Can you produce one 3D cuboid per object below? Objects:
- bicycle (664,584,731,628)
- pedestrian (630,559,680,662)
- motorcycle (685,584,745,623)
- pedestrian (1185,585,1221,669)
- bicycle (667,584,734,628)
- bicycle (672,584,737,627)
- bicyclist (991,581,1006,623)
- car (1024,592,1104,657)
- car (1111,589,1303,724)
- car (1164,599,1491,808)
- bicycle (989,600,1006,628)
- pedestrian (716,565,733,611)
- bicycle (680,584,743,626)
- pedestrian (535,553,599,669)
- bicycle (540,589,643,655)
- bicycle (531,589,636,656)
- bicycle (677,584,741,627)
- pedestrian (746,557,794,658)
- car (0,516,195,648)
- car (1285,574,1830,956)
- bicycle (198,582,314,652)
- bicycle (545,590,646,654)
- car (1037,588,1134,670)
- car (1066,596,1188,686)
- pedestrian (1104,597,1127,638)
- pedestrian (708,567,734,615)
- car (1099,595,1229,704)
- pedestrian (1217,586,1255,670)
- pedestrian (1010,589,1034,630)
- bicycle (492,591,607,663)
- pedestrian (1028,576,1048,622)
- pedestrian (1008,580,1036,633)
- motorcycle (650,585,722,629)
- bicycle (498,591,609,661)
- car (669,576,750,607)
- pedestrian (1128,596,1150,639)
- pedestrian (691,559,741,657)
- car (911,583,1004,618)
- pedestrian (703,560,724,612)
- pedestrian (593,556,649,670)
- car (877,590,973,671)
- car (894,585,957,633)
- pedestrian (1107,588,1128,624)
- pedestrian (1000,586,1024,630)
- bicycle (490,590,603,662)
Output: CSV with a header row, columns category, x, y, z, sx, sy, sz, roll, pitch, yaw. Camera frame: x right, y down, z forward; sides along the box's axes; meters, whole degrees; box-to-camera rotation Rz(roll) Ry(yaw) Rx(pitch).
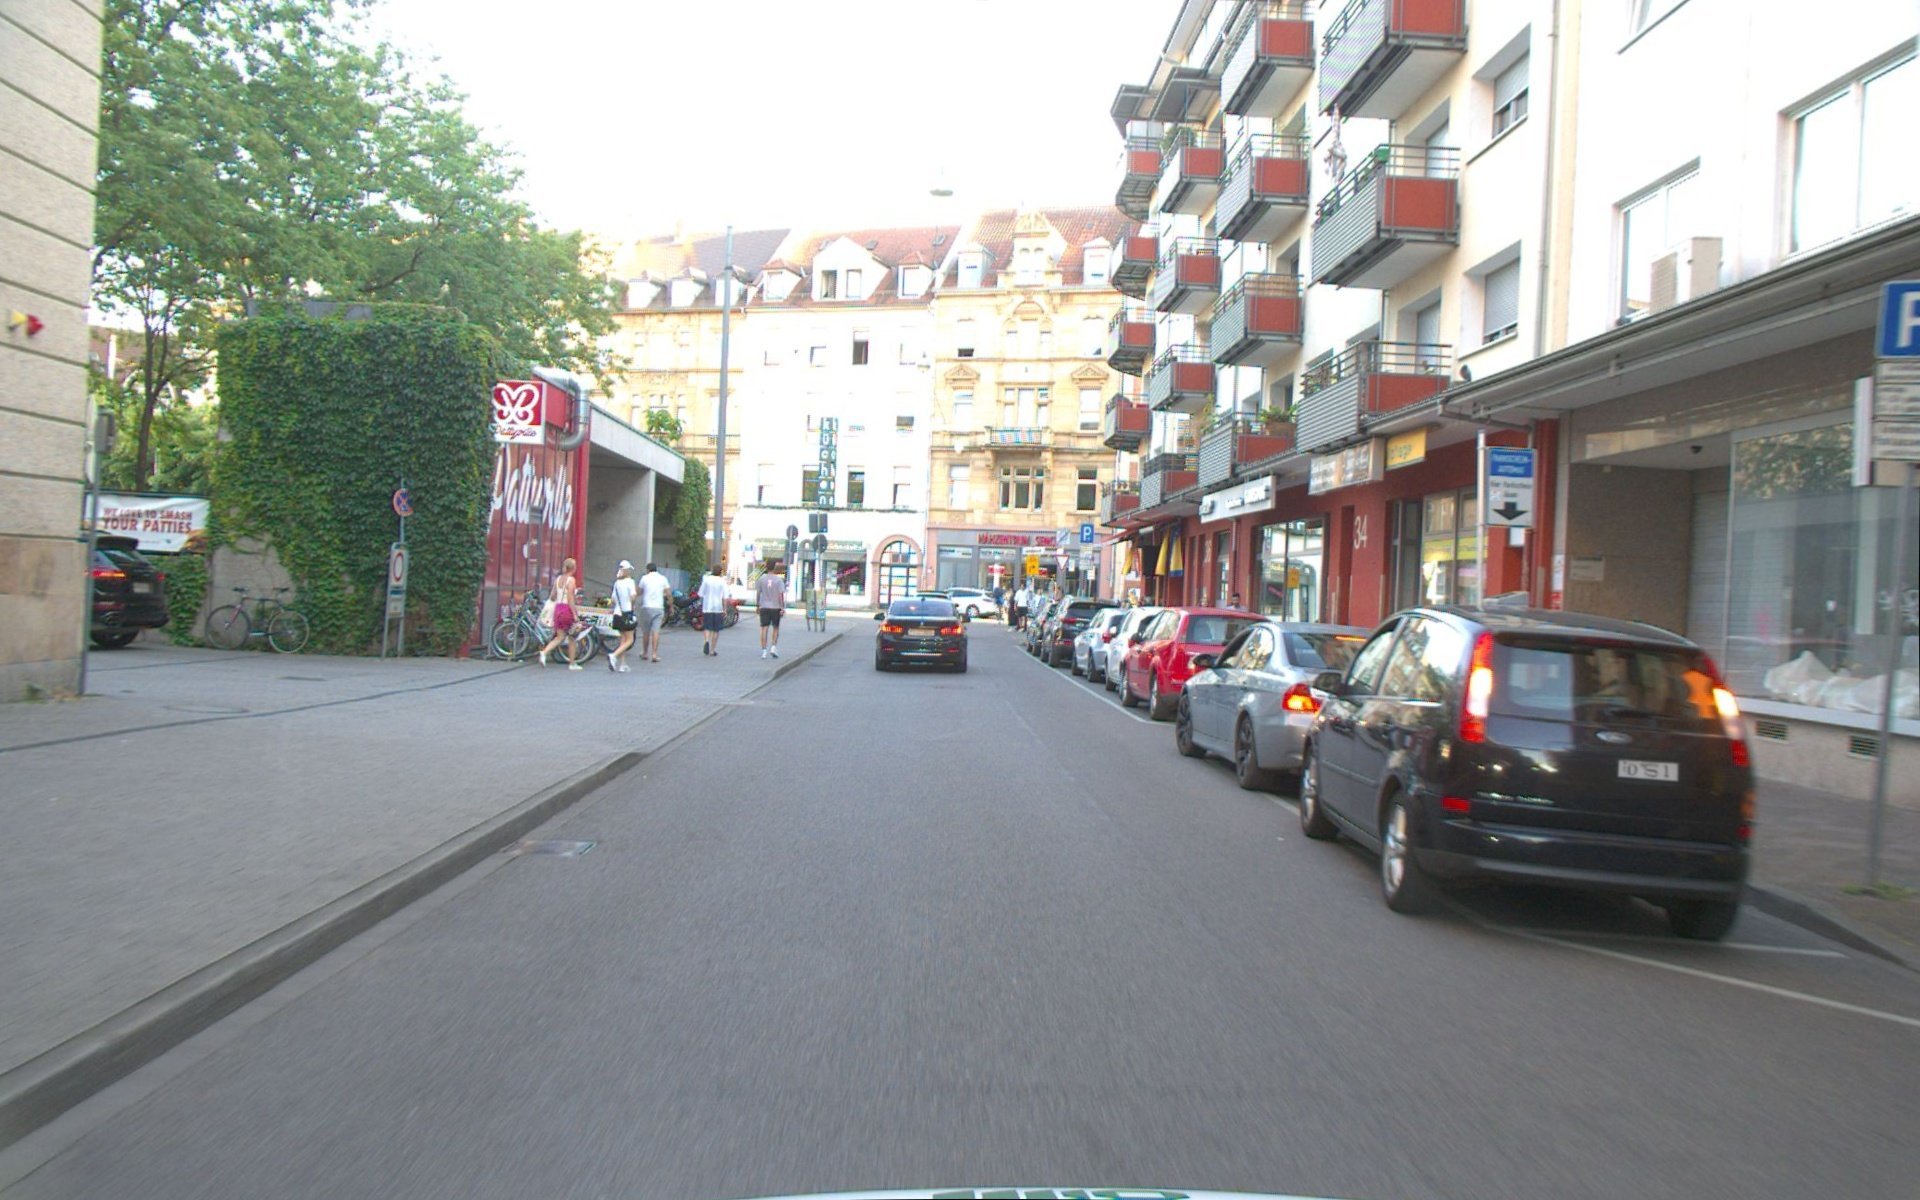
category,x,y,z,sx,sy,sz,roll,pitch,yaw
bicycle,-7.375,0.163,46.521,1.758,1.127,0.500,4,0,-2
pedestrian,-5.466,0.185,29.689,0.702,1.785,0.848,2,0,-3
motorcycle,-7.557,0.110,51.117,1.731,1.120,0.560,3,0,-36
pedestrian,4.983,0.551,33.968,0.635,1.690,0.655,-1,0,0
bicycle,-7.392,0.165,47.115,1.757,1.127,0.500,4,0,1
bicycle,-7.389,0.163,47.864,1.760,1.127,0.499,4,0,-7
bicyclist,1.640,0.090,70.536,0.512,1.787,0.620,3,0,6
car,2.792,0.625,45.332,1.729,1.528,4.790,4,1,-1
car,3.335,0.702,23.203,1.678,1.538,4.650,4,1,-3
car,3.181,0.817,15.335,1.702,1.439,4.680,4,1,-3
bicycle,1.617,0.586,70.561,0.525,1.127,1.801,3,0,6
pedestrian,-8.656,-0.433,60.717,0.490,1.671,0.521,2,0,1
bicycle,-7.436,0.145,49.579,1.758,1.127,0.500,4,0,-2
pedestrian,-6.303,0.167,26.558,0.738,1.780,0.846,3,0,-2
bicycle,-6.897,0.407,30.949,1.757,1.127,0.500,3,0,2
bicycle,-6.898,0.415,30.316,1.757,1.127,0.500,3,0,2
bicycle,-7.366,0.154,48.568,1.759,1.127,0.500,4,0,-5
pedestrian,-3.785,0.139,33.013,0.729,1.926,1.050,3,0,-1
car,-13.689,-0.296,24.018,4.133,1.790,2.067,2,1,0
car,3.220,0.747,9.958,1.757,1.637,4.488,4,1,3
bicycle,-11.108,0.262,26.098,1.626,1.031,0.370,3,0,0
bicycle,-6.914,0.415,31.418,1.757,1.127,0.500,3,0,2
car,2.930,0.638,39.444,1.729,1.670,4.789,4,1,-1
car,3.238,0.757,32.914,1.665,1.477,4.456,4,1,-3
pedestrian,4.998,0.558,53.194,0.672,1.309,0.609,1,0,8
pedestrian,-8.979,-0.322,62.057,0.661,1.776,0.654,2,1,38
car,3.340,0.762,27.738,1.574,1.538,4.048,4,1,0
pedestrian,5.673,0.571,33.971,0.635,1.690,0.794,-1,0,0
pedestrian,2.366,0.355,63.287,0.722,1.539,0.649,3,0,-10
bicycle,-6.893,0.451,27.794,1.758,1.127,0.500,2,0,-2
pedestrian,3.044,-0.045,64.765,0.592,1.776,0.670,2,0,18
pedestrian,2.320,0.244,61.531,0.671,1.910,0.691,3,0,-39
motorcycle,-7.459,0.190,45.085,1.764,1.082,0.764,4,0,24
bicycle,-7.042,0.439,28.672,1.758,1.127,0.500,2,0,-3
car,-13.456,-0.434,89.022,3.905,1.537,1.800,2,0,21
pedestrian,5.791,0.553,53.567,0.594,1.371,0.696,1,0,-2
pedestrian,-4.770,0.155,32.423,0.726,1.844,1.008,4,0,-2
car,-0.138,0.032,83.477,4.262,1.589,1.868,2,0,21
pedestrian,-9.127,-0.521,61.297,0.571,1.915,0.634,2,0,4
pedestrian,-5.432,0.198,26.531,0.636,1.780,0.985,2,0,-2
car,-0.688,0.556,33.227,1.729,1.398,4.790,3,1,-1
car,-1.128,0.267,55.907,1.838,1.498,4.002,2,1,2
pedestrian,5.362,0.213,56.294,0.415,1.222,0.529,-1,0,-44
pedestrian,2.019,0.304,63.952,0.711,1.636,0.649,3,0,-10
bicycle,-7.027,0.438,28.136,1.758,1.127,0.500,2,0,-3
